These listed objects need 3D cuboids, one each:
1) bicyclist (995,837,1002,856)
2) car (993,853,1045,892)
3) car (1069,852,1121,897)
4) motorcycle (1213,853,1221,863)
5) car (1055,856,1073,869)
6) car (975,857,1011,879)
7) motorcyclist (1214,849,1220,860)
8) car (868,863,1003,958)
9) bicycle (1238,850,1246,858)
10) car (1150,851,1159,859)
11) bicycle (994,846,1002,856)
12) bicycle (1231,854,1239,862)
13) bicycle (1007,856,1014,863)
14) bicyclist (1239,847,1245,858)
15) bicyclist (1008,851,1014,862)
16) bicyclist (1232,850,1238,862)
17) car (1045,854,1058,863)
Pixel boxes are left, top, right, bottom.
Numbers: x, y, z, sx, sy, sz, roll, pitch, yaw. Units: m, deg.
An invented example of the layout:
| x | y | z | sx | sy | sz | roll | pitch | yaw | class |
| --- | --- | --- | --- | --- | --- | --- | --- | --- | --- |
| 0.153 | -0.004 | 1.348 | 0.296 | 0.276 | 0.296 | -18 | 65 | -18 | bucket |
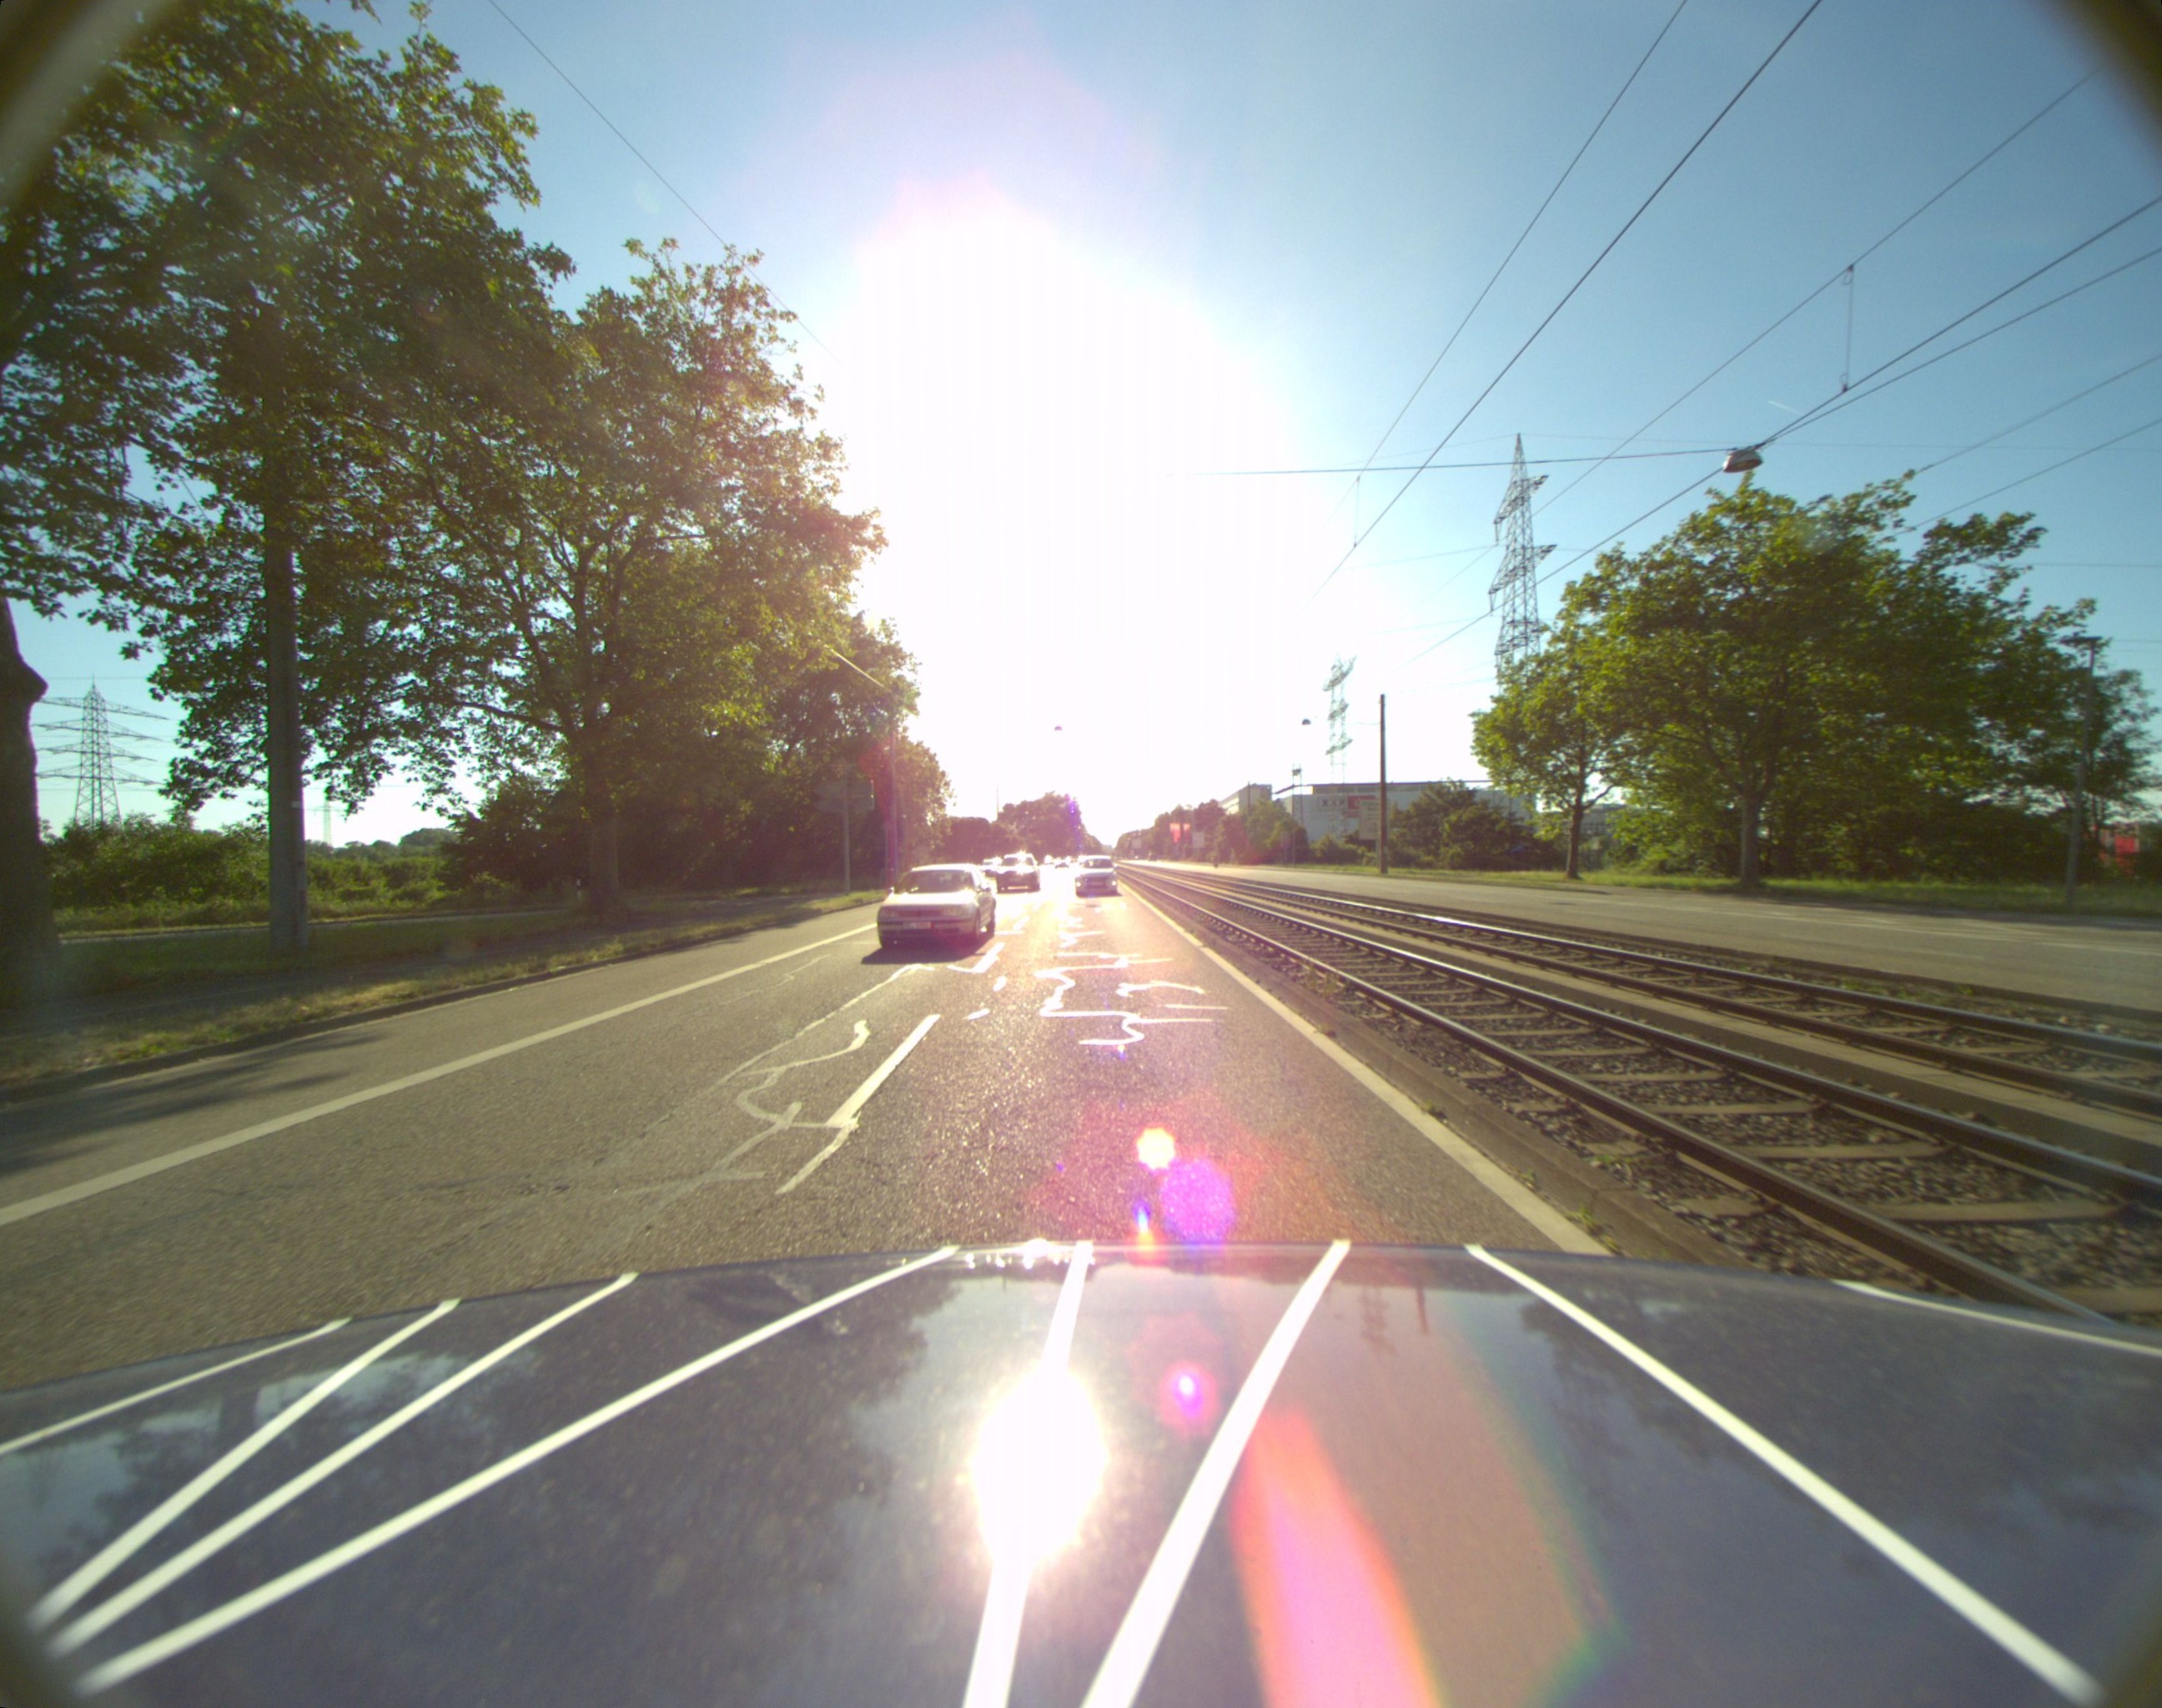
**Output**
| x | y | z | sx | sy | sz | roll | pitch | yaw | class |
| --- | --- | --- | --- | --- | --- | --- | --- | --- | --- |
| -9.098 | -0.851 | 83.596 | 0.528 | 2.005 | 0.729 | -3 | 1 | 2 | bicyclist |
| -2.839 | 0.808 | 35.636 | 1.881 | 1.591 | 4.416 | -2 | 1 | 2 | car |
| 0.607 | 0.760 | 30.533 | 1.881 | 1.591 | 4.416 | -2 | 1 | 2 | car |
| 15.456 | 0.458 | 86.418 | 0.537 | 1.084 | 1.902 | -3 | 1 | 0 | motorcycle |
| -2.036 | 0.976 | 93.463 | 1.881 | 1.449 | 4.416 | -2 | 1 | 2 | car |
| -6.416 | 1.001 | 56.060 | 1.881 | 1.435 | 4.660 | -2 | 1 | 3 | car |
| 15.447 | 0.067 | 86.359 | 0.537 | 1.263 | 0.805 | -3 | 1 | 0 | motorcyclist |
| -2.626 | 0.975 | 14.652 | 1.695 | 1.437 | 4.001 | -2 | 1 | 1 | car |
| 21.469 | 0.049 | 101.504 | 0.591 | 1.016 | 2.185 | -1 | 1 | 0 | bicycle |
| 18.426 | 0.341 | 189.955 | 1.998 | 1.911 | 4.862 | -1 | -1 | 2 | car |
| -9.082 | -0.369 | 83.359 | 0.528 | 1.054 | 1.972 | -3 | 0 | 2 | bicycle |
| 20.431 | 0.570 | 100.667 | 0.591 | 1.016 | 2.185 | -1 | 1 | 0 | bicycle |
| -8.923 | 0.651 | 96.411 | 0.628 | 0.829 | 1.635 | 2 | 1 | 3 | bicycle |
| 21.461 | -0.189 | 101.477 | 0.591 | 1.519 | 0.906 | -1 | 1 | 0 | bicyclist |
| -8.904 | 0.318 | 96.543 | 0.628 | 1.463 | 1.060 | 2 | 1 | 3 | bicyclist |
| 20.416 | 0.268 | 100.550 | 0.591 | 1.601 | 0.967 | -1 | 1 | 0 | bicyclist |
| -5.337 | 0.860 | 138.097 | 1.880 | 1.449 | 4.417 | -2 | 1 | 4 | car |
